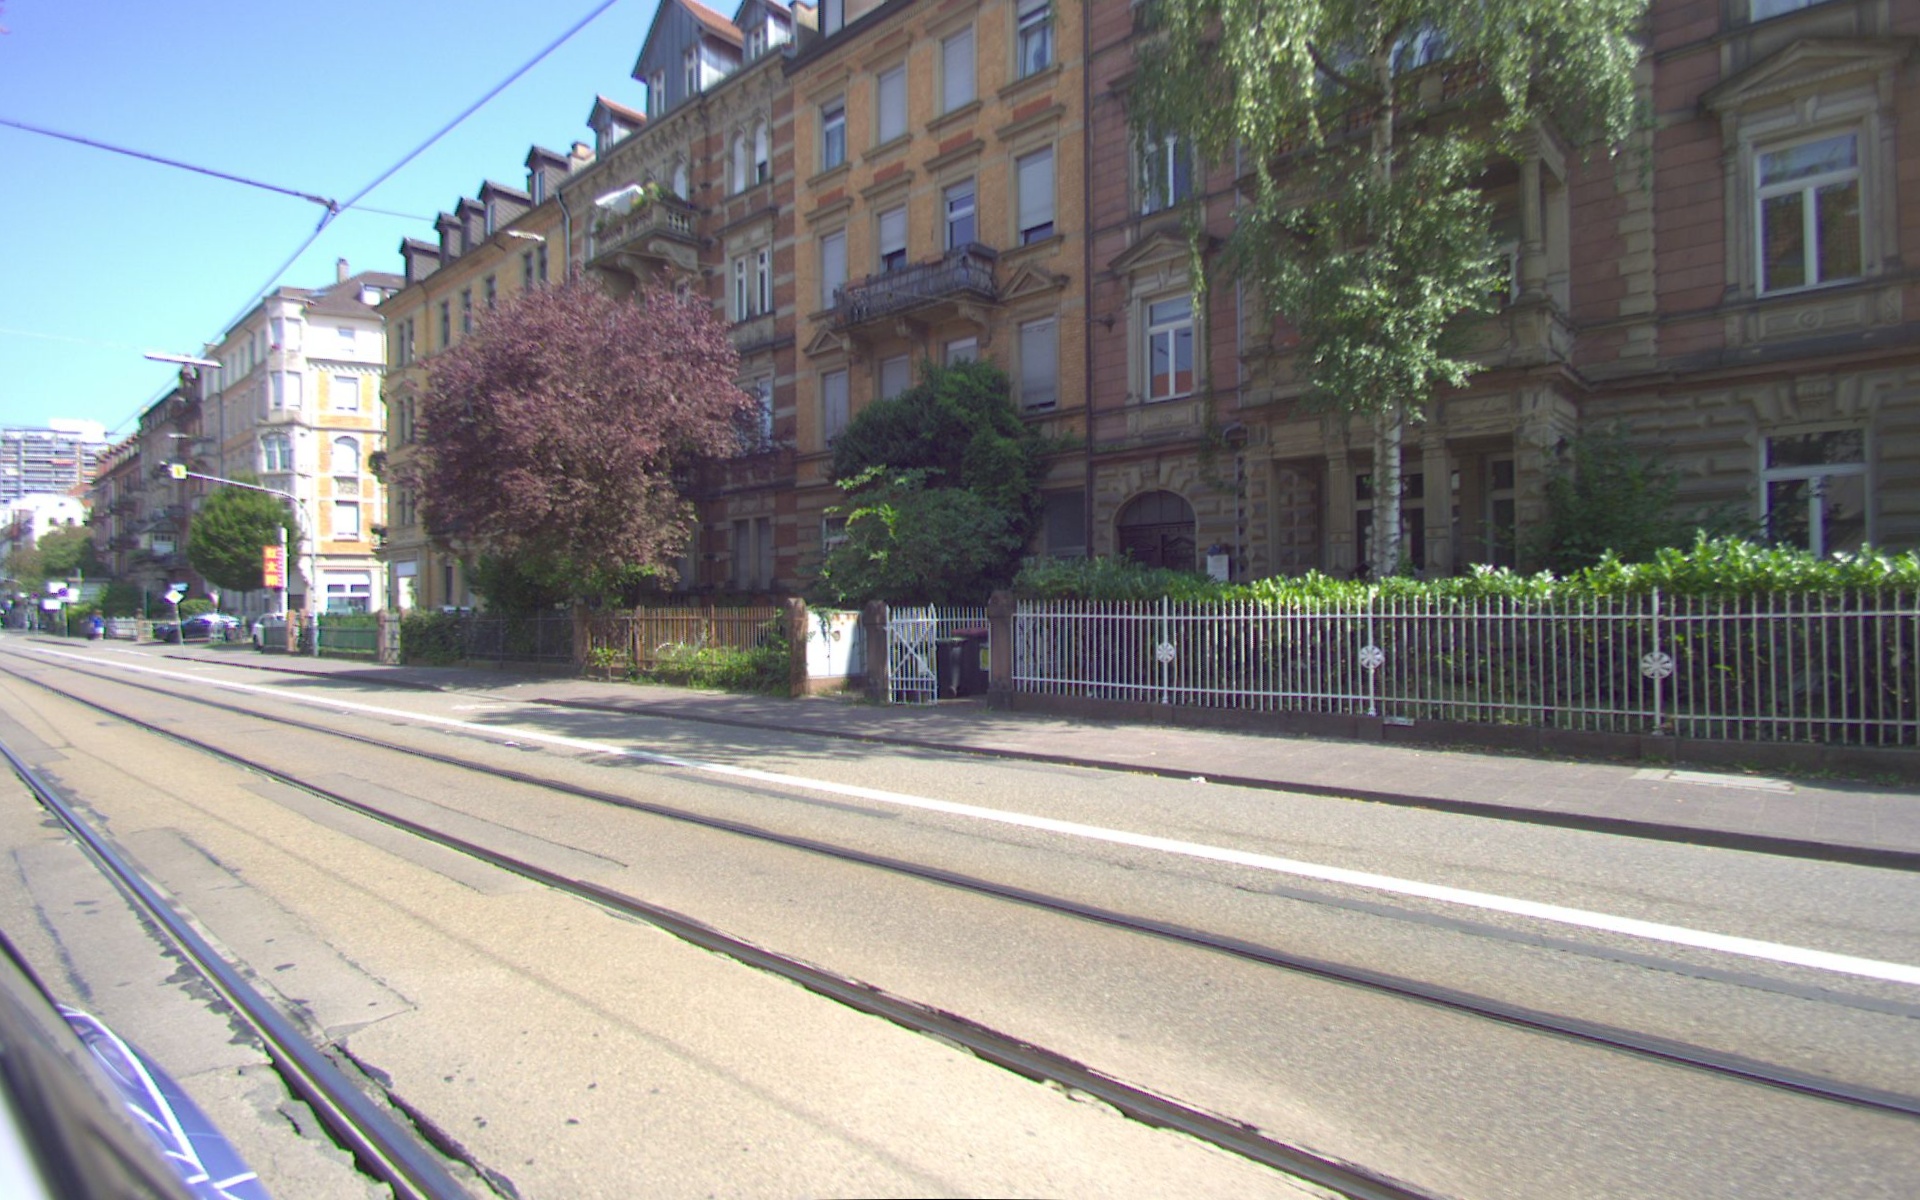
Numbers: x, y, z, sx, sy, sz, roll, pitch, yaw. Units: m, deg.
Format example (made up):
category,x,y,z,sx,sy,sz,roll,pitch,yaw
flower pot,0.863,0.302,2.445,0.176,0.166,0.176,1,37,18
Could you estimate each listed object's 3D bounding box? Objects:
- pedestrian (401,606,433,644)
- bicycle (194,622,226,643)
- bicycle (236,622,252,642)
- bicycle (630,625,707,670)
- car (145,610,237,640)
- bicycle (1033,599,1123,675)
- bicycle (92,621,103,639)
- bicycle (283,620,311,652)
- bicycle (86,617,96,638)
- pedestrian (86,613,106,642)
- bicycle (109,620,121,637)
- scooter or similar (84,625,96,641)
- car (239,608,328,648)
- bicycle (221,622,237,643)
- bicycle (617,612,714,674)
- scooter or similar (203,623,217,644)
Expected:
category,x,y,z,sx,sy,sz,roll,pitch,yaw
pedestrian,-21.973,1.021,40.969,0.884,1.522,0.860,-1,-1,34
bicycle,-41.096,1.801,55.499,0.387,1.107,1.442,-2,-1,20
bicycle,-39.024,1.744,55.159,0.384,1.107,1.456,-1,-1,-22
bicycle,-6.611,1.060,23.036,0.712,0.918,1.805,-1,0,22
car,-44.504,1.435,58.614,1.879,1.606,4.056,-1,0,44
bicycle,2.205,0.654,18.716,0.716,1.302,1.793,-1,0,43
bicycle,-58.112,2.021,68.172,1.582,1.156,0.386,-2,-2,44
bicycle,-23.139,1.252,35.312,1.567,1.107,0.386,-2,-1,41
bicycle,-60.835,1.911,70.846,1.582,1.416,0.386,-2,-2,44
pedestrian,-54.229,1.723,63.513,0.870,1.769,0.874,-2,-2,43
bicycle,-53.662,1.792,64.292,1.833,1.046,0.386,-2,-2,44
scooter or similar,-54.741,2.093,63.674,0.583,0.990,0.396,-1,0,35
car,-28.906,1.185,43.210,4.355,1.606,1.974,-1,-2,39
bicycle,-39.704,1.777,54.969,0.384,1.107,1.456,-1,-1,-22
bicycle,-6.081,0.868,20.935,0.717,1.191,1.792,-1,0,44
scooter or similar,-40.305,1.797,54.379,0.588,1.107,1.392,0,-1,-37
